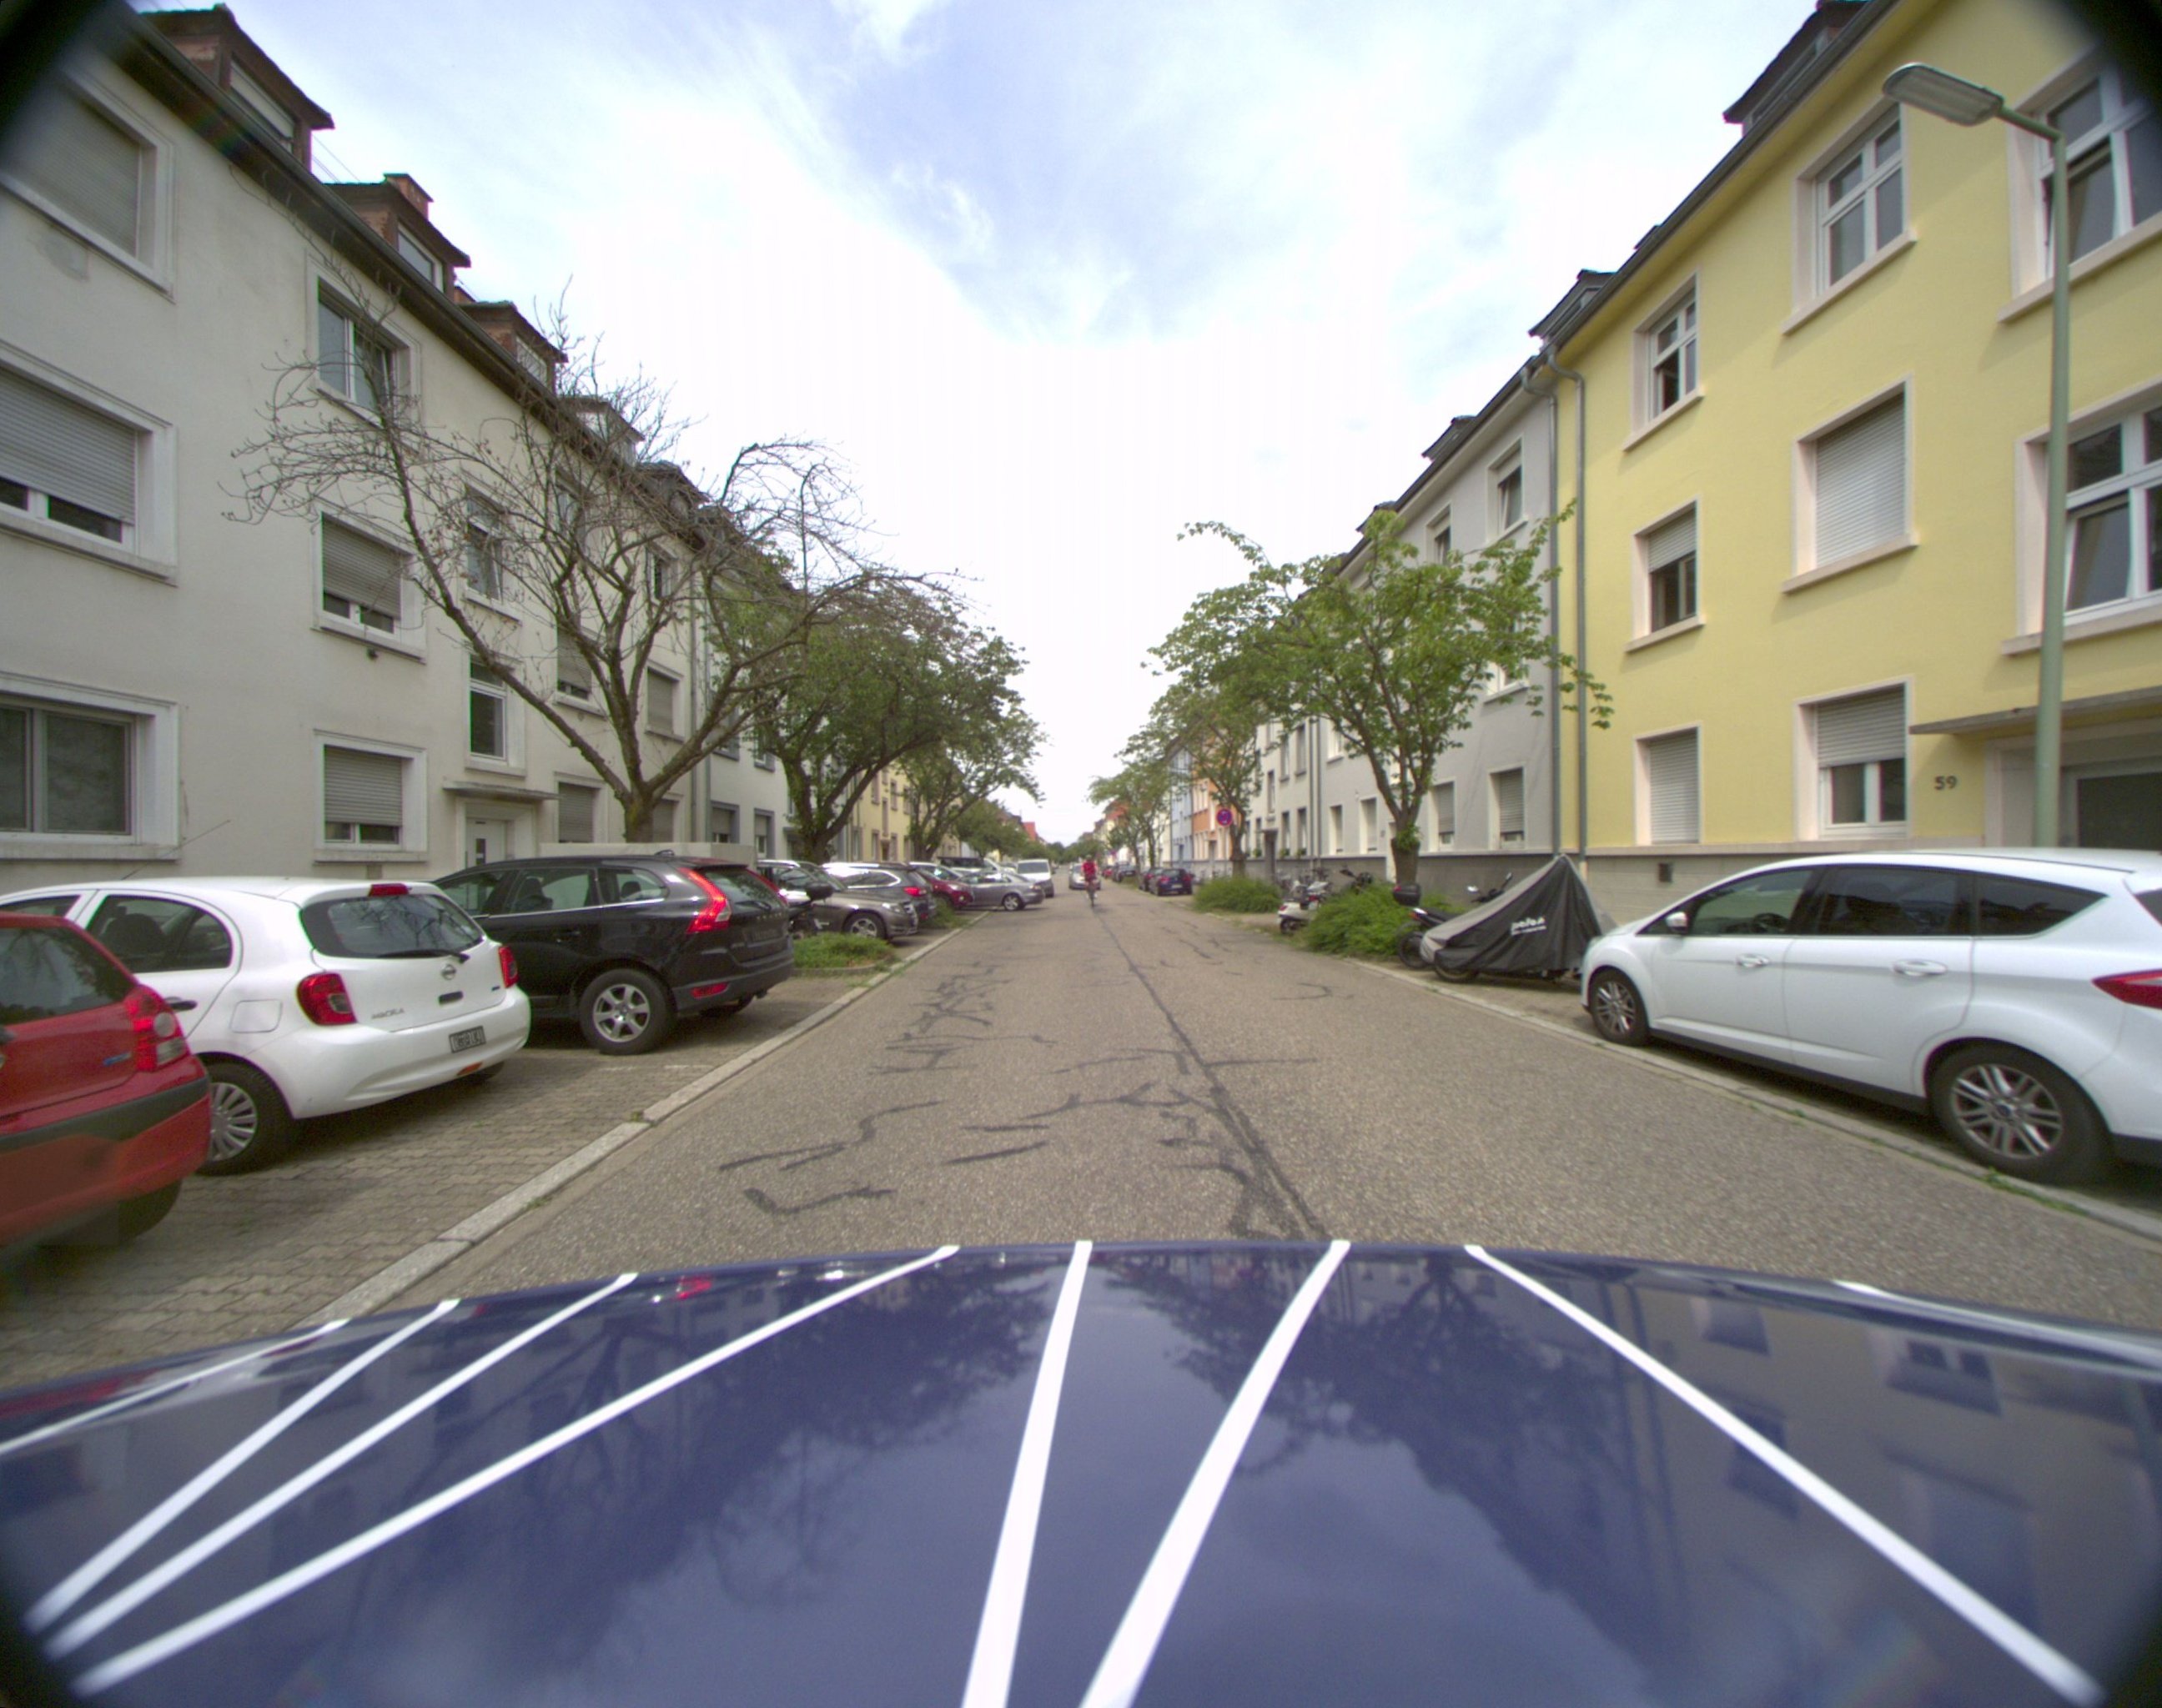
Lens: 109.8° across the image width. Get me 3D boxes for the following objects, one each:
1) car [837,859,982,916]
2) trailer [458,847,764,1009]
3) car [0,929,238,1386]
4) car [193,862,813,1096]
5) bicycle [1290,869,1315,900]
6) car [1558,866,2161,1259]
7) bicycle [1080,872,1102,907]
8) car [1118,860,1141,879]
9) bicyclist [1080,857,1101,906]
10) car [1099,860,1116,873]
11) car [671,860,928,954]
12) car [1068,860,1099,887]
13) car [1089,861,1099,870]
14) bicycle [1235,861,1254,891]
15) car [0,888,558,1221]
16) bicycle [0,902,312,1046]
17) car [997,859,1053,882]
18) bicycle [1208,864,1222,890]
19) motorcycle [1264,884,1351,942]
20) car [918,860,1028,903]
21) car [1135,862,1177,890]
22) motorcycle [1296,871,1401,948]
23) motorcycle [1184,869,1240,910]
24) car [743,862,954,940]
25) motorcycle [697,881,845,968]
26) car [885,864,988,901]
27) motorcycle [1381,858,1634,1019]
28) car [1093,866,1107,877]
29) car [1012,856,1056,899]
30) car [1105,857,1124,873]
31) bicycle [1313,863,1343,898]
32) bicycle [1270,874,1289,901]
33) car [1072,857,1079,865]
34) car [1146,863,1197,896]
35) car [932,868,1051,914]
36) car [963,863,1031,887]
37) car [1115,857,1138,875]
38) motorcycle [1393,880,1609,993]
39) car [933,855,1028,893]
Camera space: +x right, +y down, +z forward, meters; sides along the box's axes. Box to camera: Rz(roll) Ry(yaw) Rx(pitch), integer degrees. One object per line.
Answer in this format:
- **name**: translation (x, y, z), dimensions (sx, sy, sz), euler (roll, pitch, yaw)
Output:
- **car**: translation (-5.474, 1.039, 24.656), dimensions (4.225, 1.668, 1.904), euler (1, 0, 1)
- **trailer**: translation (-5.786, 0.859, 9.562), dimensions (2.967, 1.820, 1.401), euler (1, 0, 2)
- **car**: translation (-5.480, 0.983, 2.162), dimensions (3.998, 1.402, 1.767), euler (1, 0, -4)
- **car**: translation (-4.933, 0.998, 6.970), dimensions (4.225, 1.725, 1.904), euler (1, 0, 1)
- **bicycle**: translation (7.559, 1.015, 25.931), dimensions (0.421, 1.001, 1.434), euler (1, 0, 0)
- **car**: translation (5.261, 0.883, 4.802), dimensions (1.762, 1.547, 4.255), euler (0, 0, -1)
- **bicycle**: translation (0.362, 1.296, 28.277), dimensions (0.693, 1.220, 1.936), euler (-1, 0, -1)
- **car**: translation (4.097, 1.328, 64.921), dimensions (1.706, 1.533, 4.249), euler (1, 0, 0)
- **bicyclist**: translation (0.357, 1.001, 28.288), dimensions (0.694, 1.760, 0.986), euler (-1, 0, -1)
- **car**: translation (3.276, 1.501, 93.527), dimensions (1.712, 1.477, 3.442), euler (1, 0, -3)
- **car**: translation (-5.232, 0.966, 14.623), dimensions (4.227, 1.588, 1.903), euler (1, 0, -3)
- **car**: translation (0.104, 1.170, 47.676), dimensions (1.788, 1.595, 4.835), euler (-1, 0, -2)
- **car**: translation (2.438, 2.142, 142.222), dimensions (1.711, 1.495, 3.443), euler (1, 0, -1)
- **bicycle**: translation (7.540, 0.990, 35.076), dimensions (0.430, 1.326, 1.811), euler (1, 0, 0)
- **car**: translation (-5.684, 1.006, 4.565), dimensions (3.757, 1.433, 1.864), euler (1, 0, 0)
- **bicycle**: translation (-8.953, 1.093, 7.487), dimensions (0.688, 1.090, 2.005), euler (1, 0, 0)
- **car**: translation (-4.930, 1.441, 67.302), dimensions (4.751, 1.898, 1.850), euler (1, 0, -1)
- **bicycle**: translation (7.292, 1.242, 41.438), dimensions (0.430, 1.326, 1.811), euler (1, 0, 0)
- **motorcycle**: translation (4.910, 1.253, 16.441), dimensions (1.915, 1.185, 0.595), euler (1, 0, -28)
- **car**: translation (-4.096, 1.043, 29.313), dimensions (3.998, 1.527, 1.638), euler (1, 0, -2)
- **car**: translation (4.459, 1.301, 45.744), dimensions (1.841, 1.475, 4.092), euler (-2, 0, -3)
- **motorcycle**: translation (5.427, 1.093, 15.367), dimensions (2.242, 1.473, 0.595), euler (1, 0, -28)
- **motorcycle**: translation (4.686, 1.261, 27.166), dimensions (2.022, 1.399, 0.790), euler (1, 0, -38)
- **car**: translation (-5.159, 1.033, 17.325), dimensions (4.227, 1.588, 1.903), euler (1, 0, -3)
- **motorcycle**: translation (-5.288, 1.185, 13.075), dimensions (2.232, 1.401, 0.715), euler (0, 0, -3)
- **car**: translation (-6.041, 1.191, 32.025), dimensions (3.998, 1.412, 1.638), euler (1, 0, -2)
- **motorcycle**: translation (5.009, 0.891, 9.088), dimensions (0.941, 1.666, 2.467), euler (0, 0, -44)
- **car**: translation (2.835, 2.579, 112.452), dimensions (1.712, 1.438, 3.442), euler (1, 0, -3)
- **car**: translation (-2.316, 1.081, 37.715), dimensions (1.999, 1.903, 4.702), euler (-2, 0, -3)
- **car**: translation (3.703, 1.191, 84.147), dimensions (1.712, 1.591, 4.115), euler (1, 0, -3)
- **bicycle**: translation (7.503, 0.791, 23.113), dimensions (0.421, 1.001, 1.434), euler (1, 0, 0)
- **bicycle**: translation (7.562, 1.254, 28.994), dimensions (0.310, 0.961, 1.434), euler (1, 0, 0)
- **car**: translation (-1.419, 1.790, 198.323), dimensions (1.757, 2.097, 3.620), euler (1, 0, -1)
- **car**: translation (4.614, 1.289, 39.314), dimensions (1.841, 1.475, 4.119), euler (-3, 0, -3)
- **car**: translation (-3.105, 1.298, 26.910), dimensions (3.998, 1.446, 1.766), euler (1, 0, -2)
- **car**: translation (-5.805, 1.439, 52.879), dimensions (4.560, 1.501, 1.850), euler (1, 0, -3)
- **car**: translation (4.252, 1.127, 71.280), dimensions (1.697, 1.573, 4.248), euler (-1, 0, -3)
- **motorcycle**: translation (5.554, 1.053, 10.233), dimensions (2.450, 1.303, 0.645), euler (1, 0, 25)
- **car**: translation (-5.703, 1.101, 43.568), dimensions (5.245, 2.011, 2.072), euler (1, 0, -5)
